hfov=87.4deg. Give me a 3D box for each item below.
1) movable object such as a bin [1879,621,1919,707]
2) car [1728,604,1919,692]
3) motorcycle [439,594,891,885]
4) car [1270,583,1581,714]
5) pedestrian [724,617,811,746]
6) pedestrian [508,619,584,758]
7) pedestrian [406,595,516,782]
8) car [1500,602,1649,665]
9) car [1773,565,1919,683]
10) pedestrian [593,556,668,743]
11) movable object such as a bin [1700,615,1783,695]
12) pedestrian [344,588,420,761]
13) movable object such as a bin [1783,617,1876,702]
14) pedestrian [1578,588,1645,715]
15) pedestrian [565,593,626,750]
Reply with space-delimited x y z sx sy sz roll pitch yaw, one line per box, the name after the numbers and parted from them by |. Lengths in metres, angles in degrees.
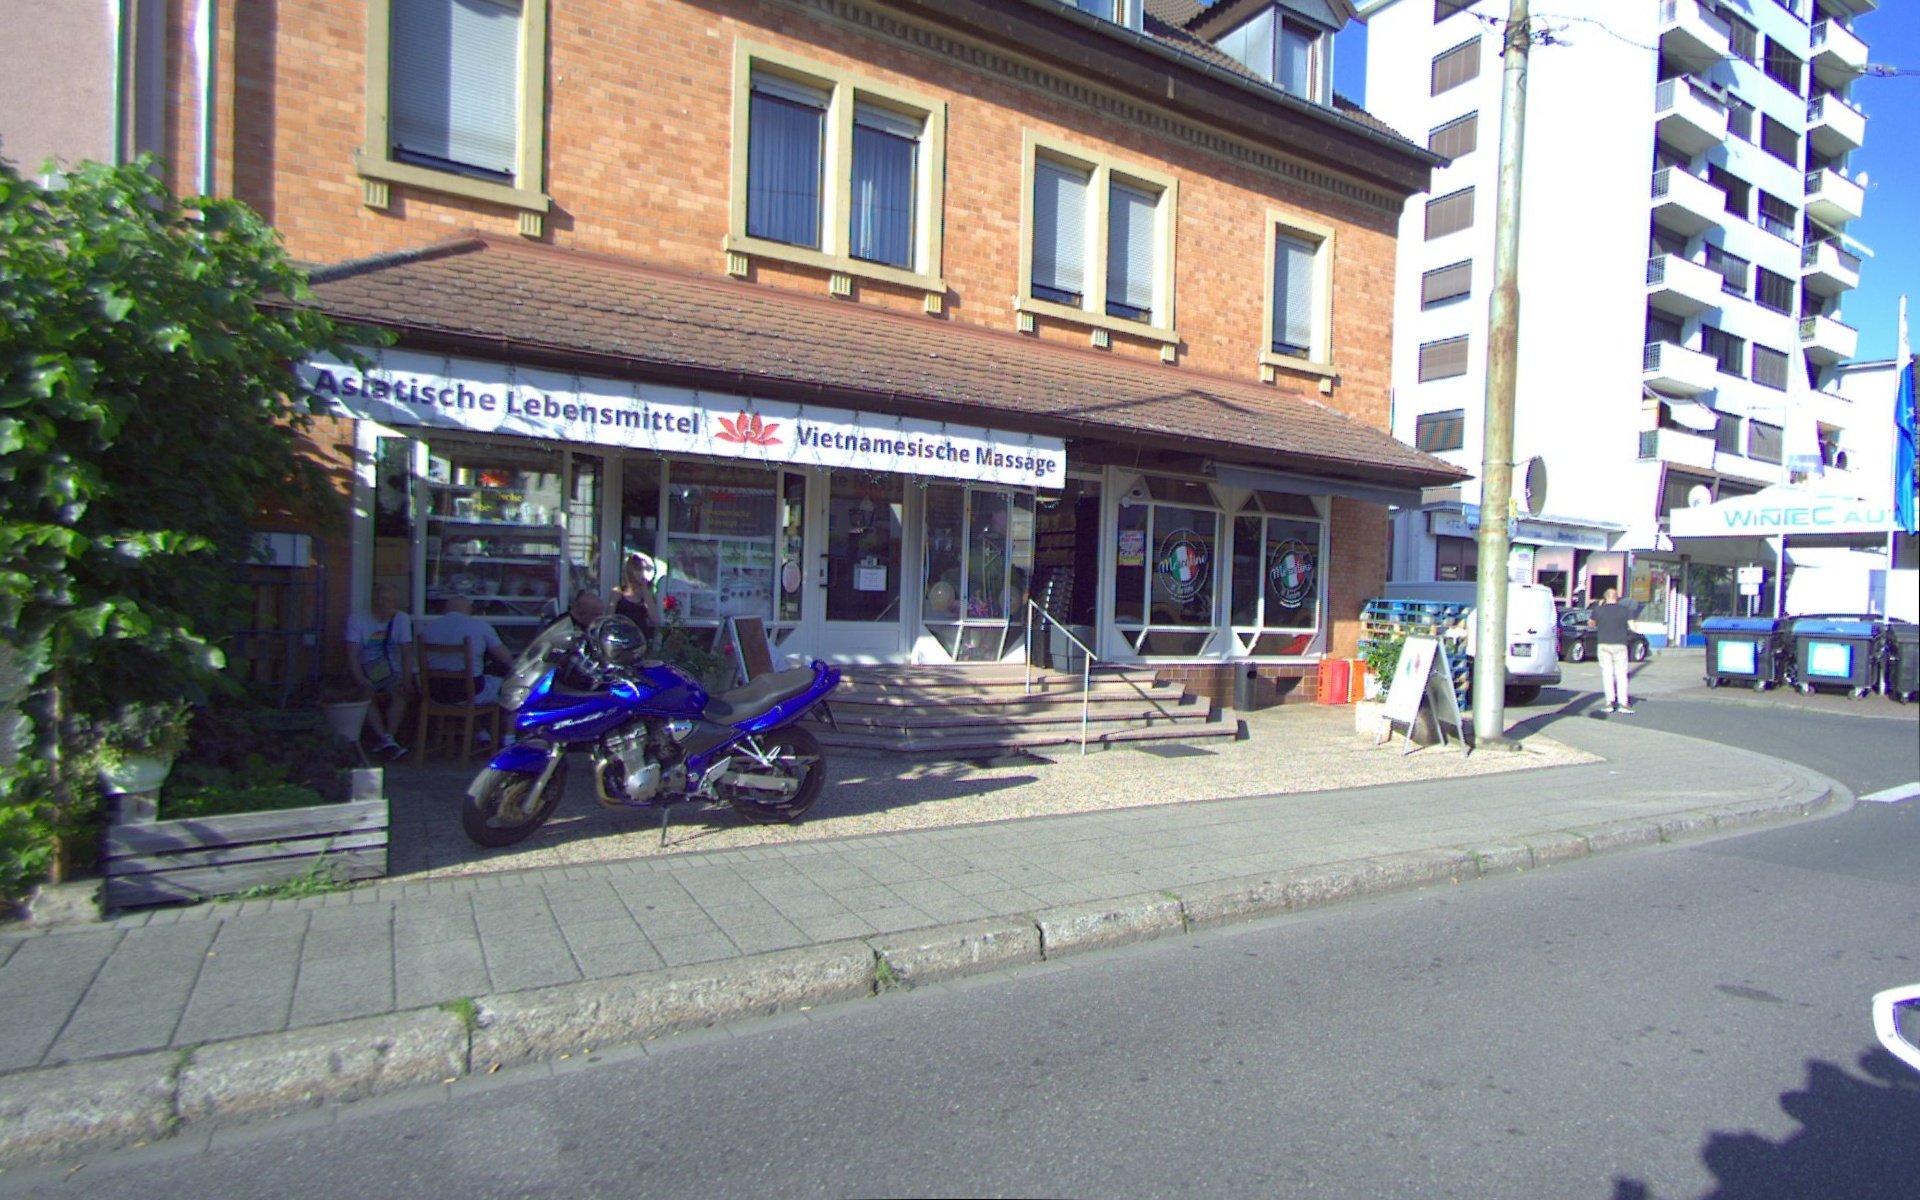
17.544 1.156 18.176 1.201 1.503 0.702 0 3 32 | movable object such as a bin
18.713 0.966 21.013 1.760 1.589 3.948 0 2 -43 | car
-1.569 0.666 5.525 2.208 1.299 0.834 2 1 -33 | motorcycle
7.899 0.713 17.523 1.978 1.959 4.590 1 0 -31 | car
-1.782 0.734 9.267 0.625 1.124 0.560 1 0 -29 | pedestrian
-3.361 0.699 8.148 0.517 1.061 0.381 2 1 44 | pedestrian
-3.605 0.604 7.276 0.658 1.260 0.742 1 0 -27 | pedestrian
17.261 0.901 28.170 4.266 1.589 1.758 1 2 -31 | car
21.354 0.555 22.313 4.994 2.502 2.099 3 1 39 | car
-2.896 0.428 8.819 0.496 1.581 0.462 2 -1 -28 | pedestrian
15.877 1.090 20.425 0.697 1.503 1.170 -3 3 -34 | movable object such as a bin
-4.440 0.554 7.738 0.459 1.275 0.521 1 1 -28 | pedestrian
16.680 1.115 19.281 0.697 1.503 1.210 -3 3 -34 | movable object such as a bin
10.167 0.777 15.669 0.806 1.893 0.792 2 1 36 | pedestrian
-3.023 0.571 8.310 0.379 1.243 0.521 1 1 -28 | pedestrian
